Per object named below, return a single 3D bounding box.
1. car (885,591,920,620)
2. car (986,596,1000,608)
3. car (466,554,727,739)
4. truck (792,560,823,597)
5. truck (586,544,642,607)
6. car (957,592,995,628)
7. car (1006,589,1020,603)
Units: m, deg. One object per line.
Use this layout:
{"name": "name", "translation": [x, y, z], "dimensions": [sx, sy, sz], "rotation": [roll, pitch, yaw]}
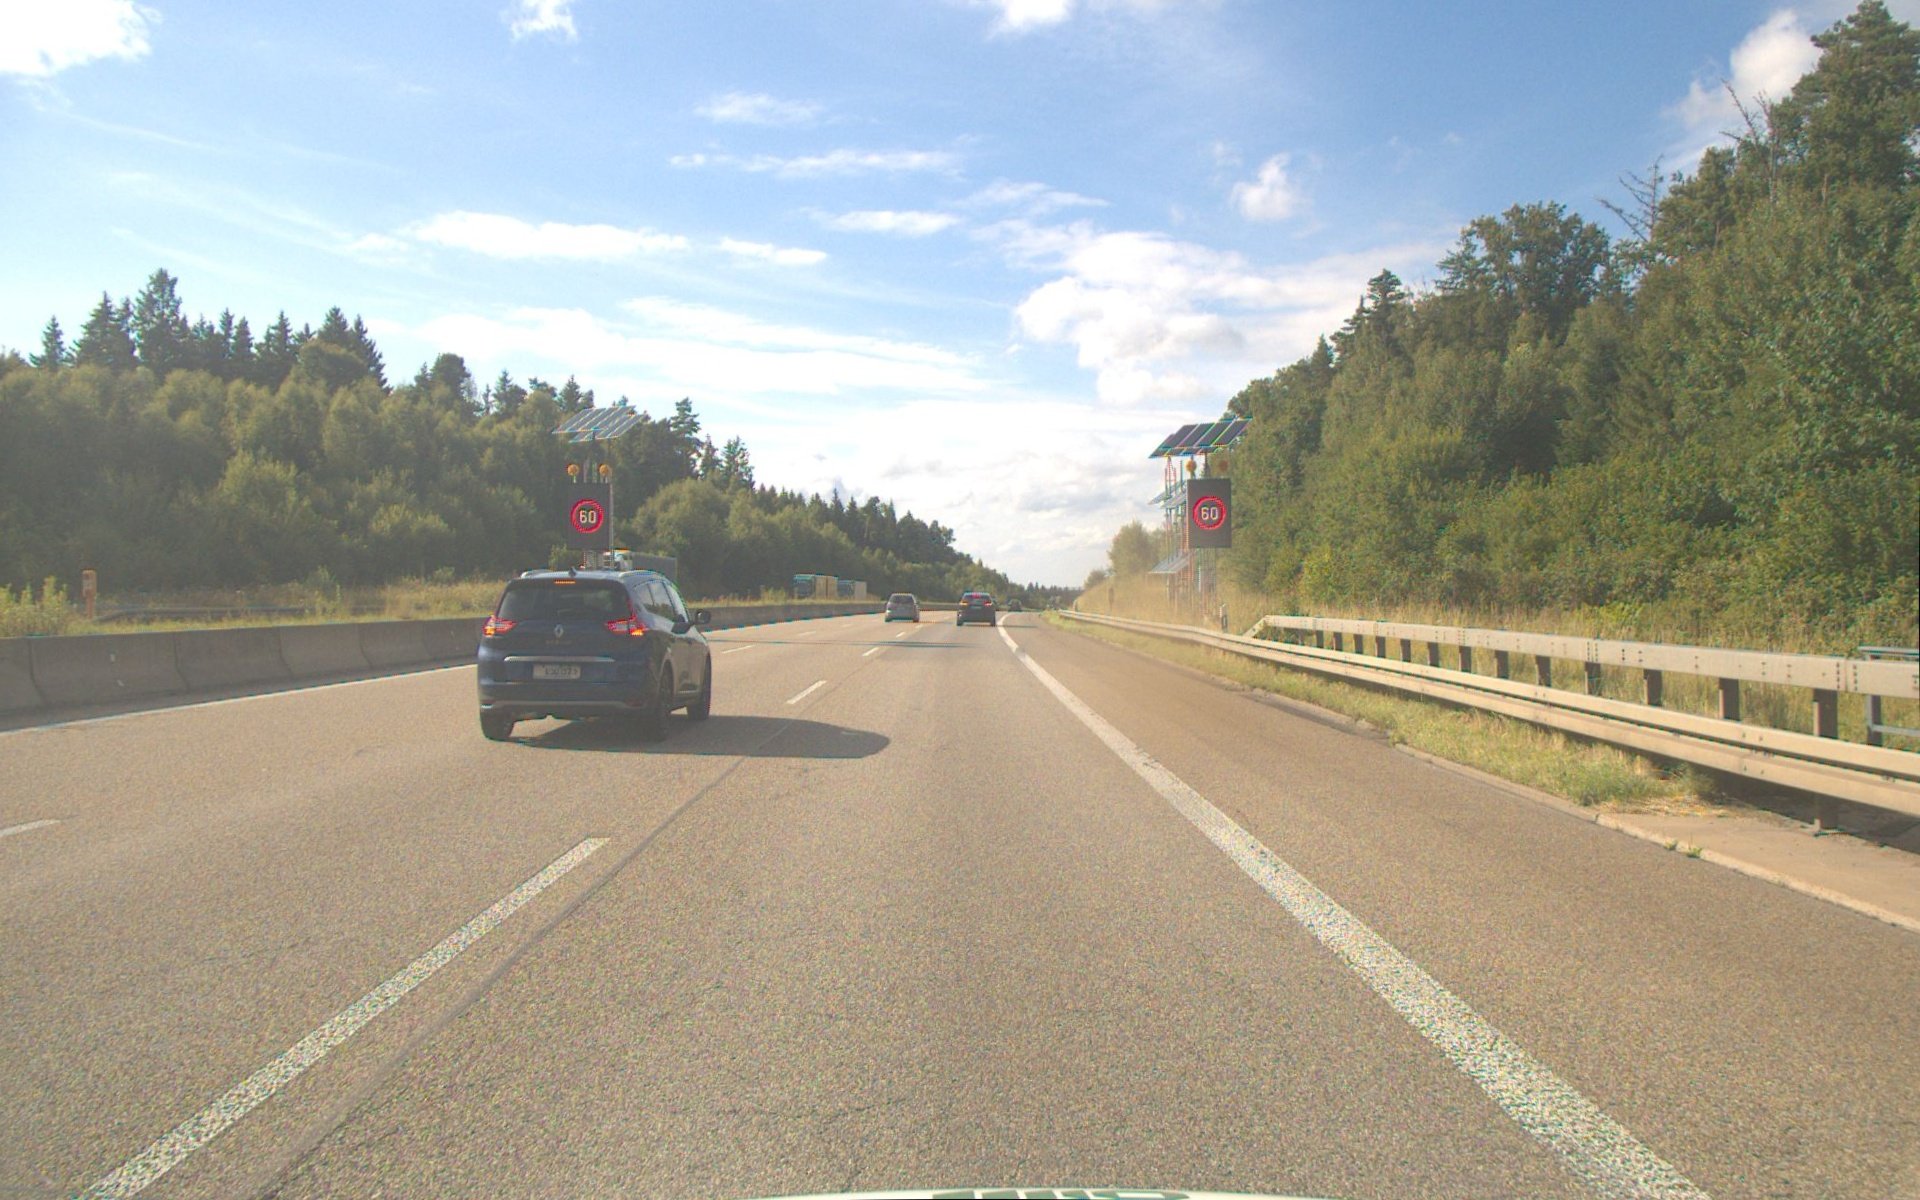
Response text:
{"name": "car", "translation": [-3.158, 0.279, 91.372], "dimensions": [1.836, 1.523, 3.879], "rotation": [1, 1, -2]}
{"name": "car", "translation": [4.590, 0.233, 229.516], "dimensions": [1.834, 1.523, 3.882], "rotation": [1, 1, 4]}
{"name": "car", "translation": [-3.799, 0.433, 18.107], "dimensions": [1.953, 1.736, 4.528], "rotation": [1, 0, -2]}
{"name": "truck", "translation": [-17.506, -2.438, 189.741], "dimensions": [2.594, 4.157, 6.419], "rotation": [0, 0, 3]}
{"name": "truck", "translation": [-21.644, -1.516, 103.673], "dimensions": [2.232, 3.794, 5.533], "rotation": [0, 0, 1]}
{"name": "car", "translation": [0.825, 0.484, 82.378], "dimensions": [1.835, 1.704, 3.891], "rotation": [1, 1, 1]}
{"name": "car", "translation": [6.938, -0.550, 216.571], "dimensions": [1.775, 1.735, 4.000], "rotation": [0, 1, 0]}
